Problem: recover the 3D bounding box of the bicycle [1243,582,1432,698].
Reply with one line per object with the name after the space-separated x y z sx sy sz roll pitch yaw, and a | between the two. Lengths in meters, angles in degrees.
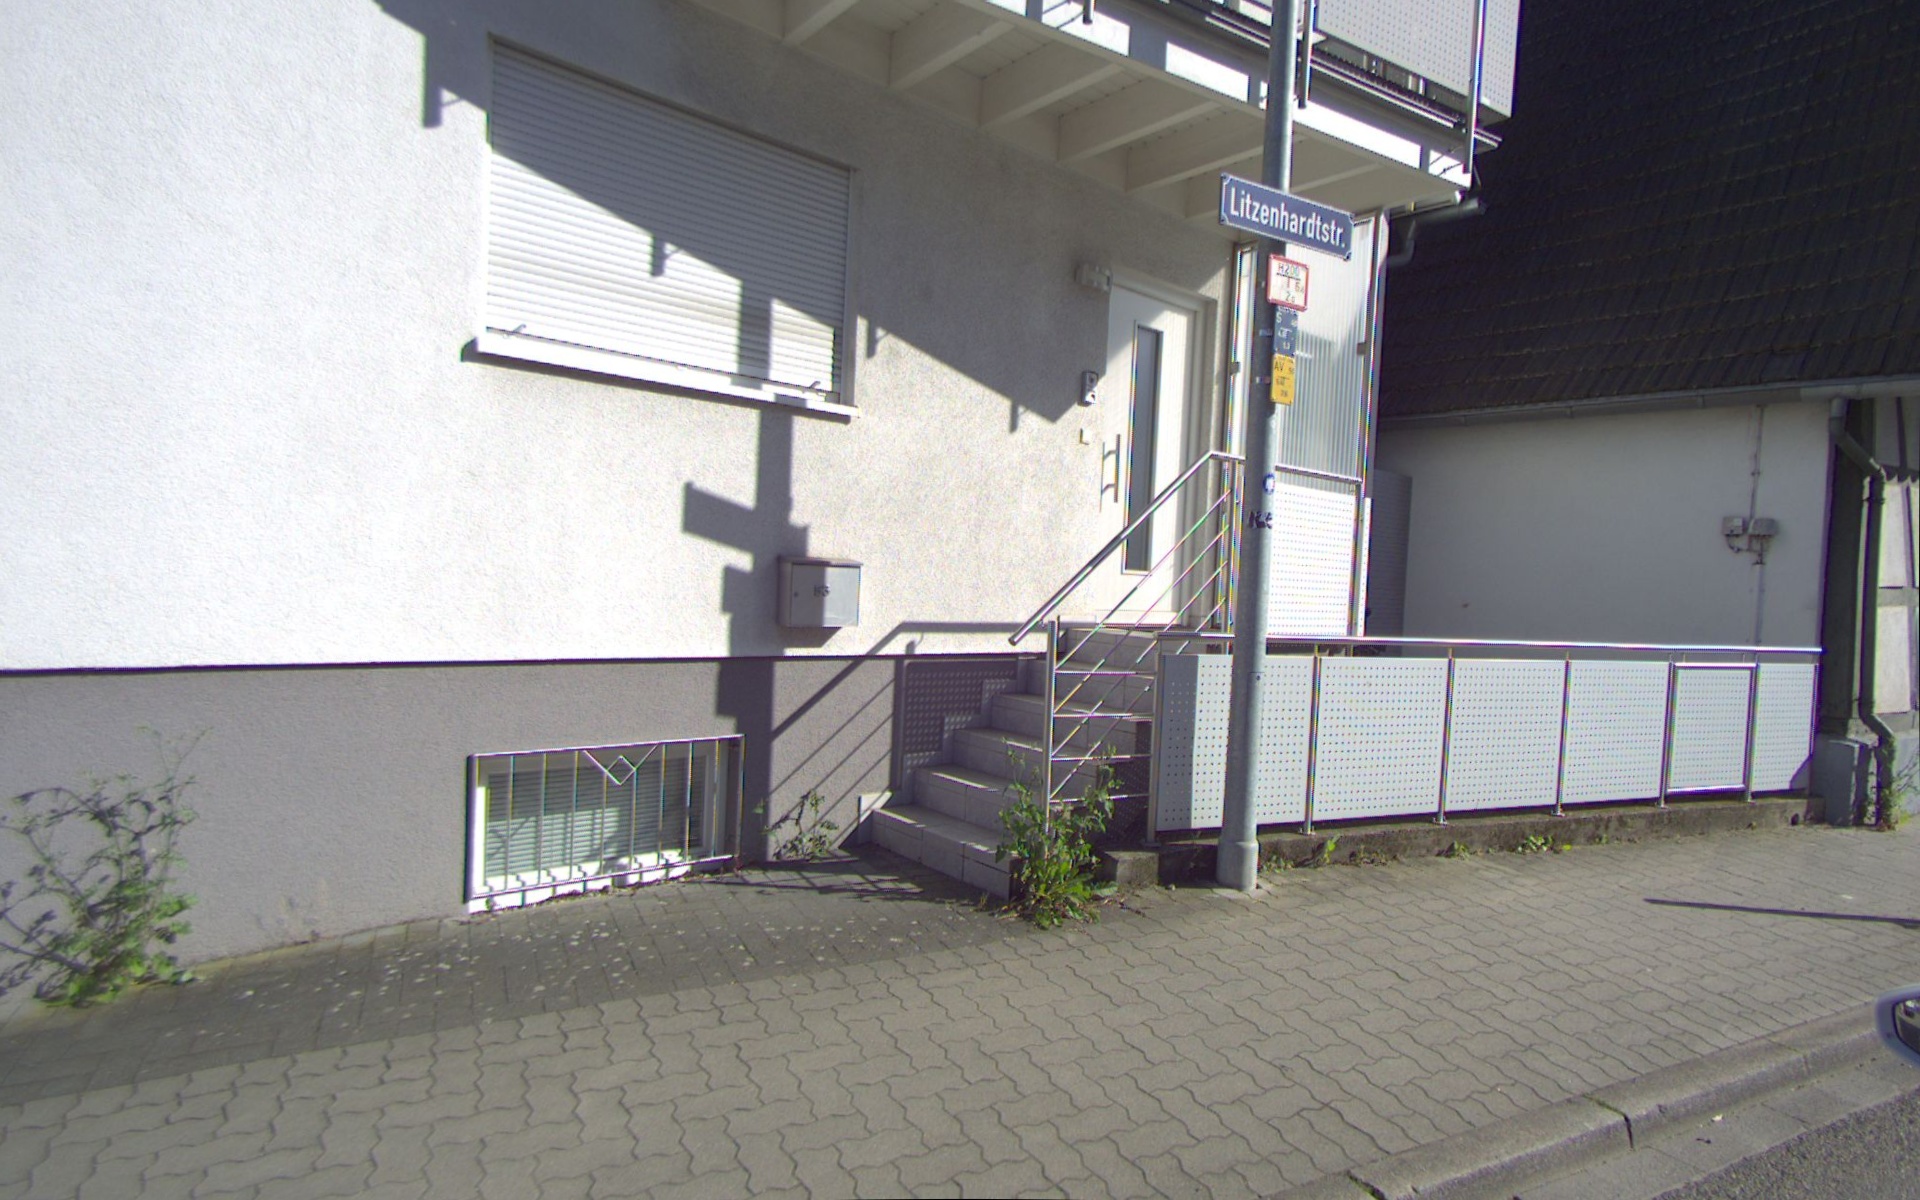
2.694 0.270 7.110 1.488 0.727 0.485 2 3 -37 | bicycle
